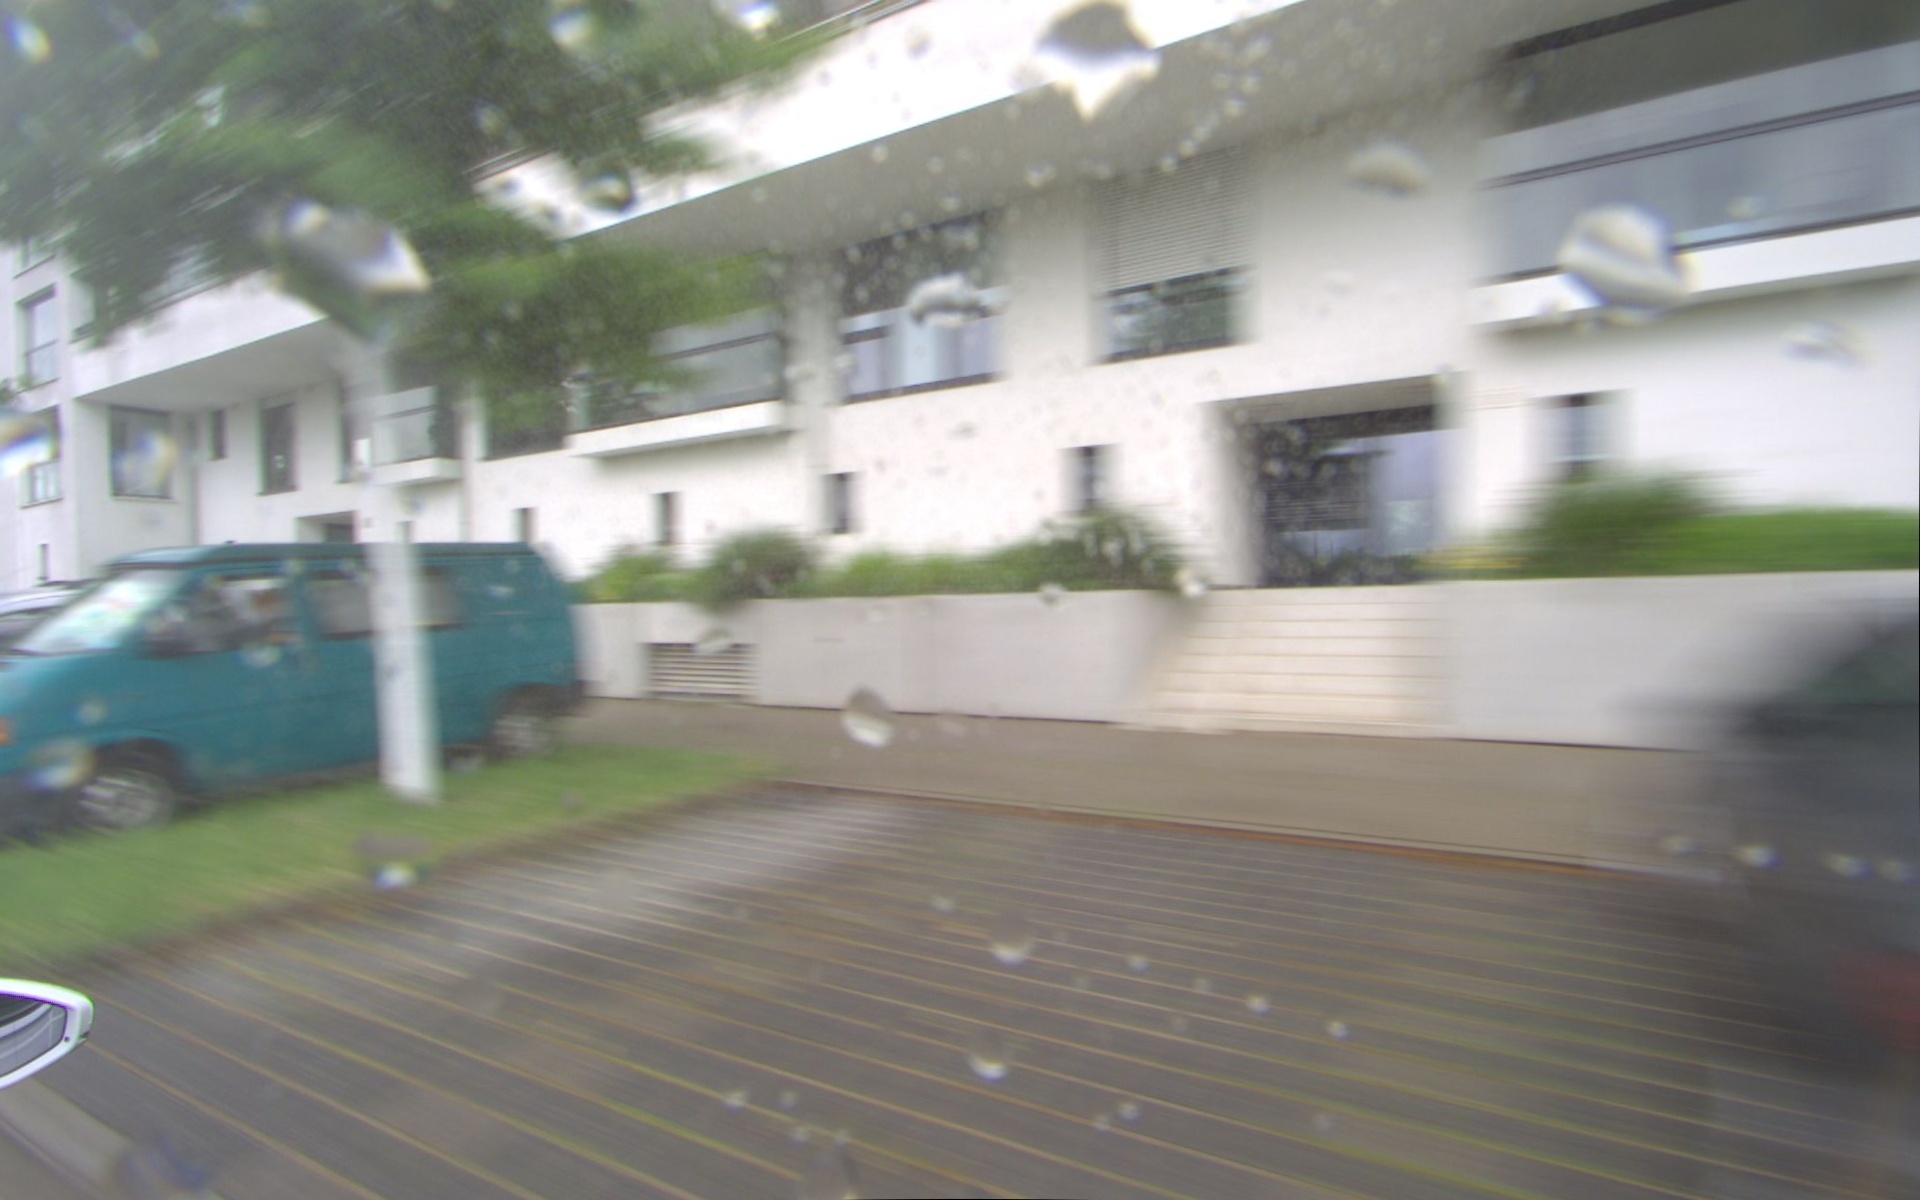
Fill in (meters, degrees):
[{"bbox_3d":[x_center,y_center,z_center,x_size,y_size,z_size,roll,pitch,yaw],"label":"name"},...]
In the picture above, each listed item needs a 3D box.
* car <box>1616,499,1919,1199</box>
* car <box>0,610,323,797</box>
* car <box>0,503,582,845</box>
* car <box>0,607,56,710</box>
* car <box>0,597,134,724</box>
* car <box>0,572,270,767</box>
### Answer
[{"bbox_3d":[3.089,0.545,2.931,1.607,1.519,4.025,-1,1,29],"label":"car"},{"bbox_3d":[-7.860,0.847,9.114,1.298,1.502,3.250,-1,-1,30],"label":"car"},{"bbox_3d":[-5.583,0.469,8.117,1.830,2.046,4.612,-1,-1,30],"label":"car"},{"bbox_3d":[-16.503,0.934,15.094,1.834,1.621,3.881,-1,-1,26],"label":"car"},{"bbox_3d":[-13.873,0.816,13.452,1.834,1.703,3.882,-1,-1,26],"label":"car"},{"bbox_3d":[-9.995,0.688,10.591,1.702,1.920,4.084,-1,1,33],"label":"car"}]
